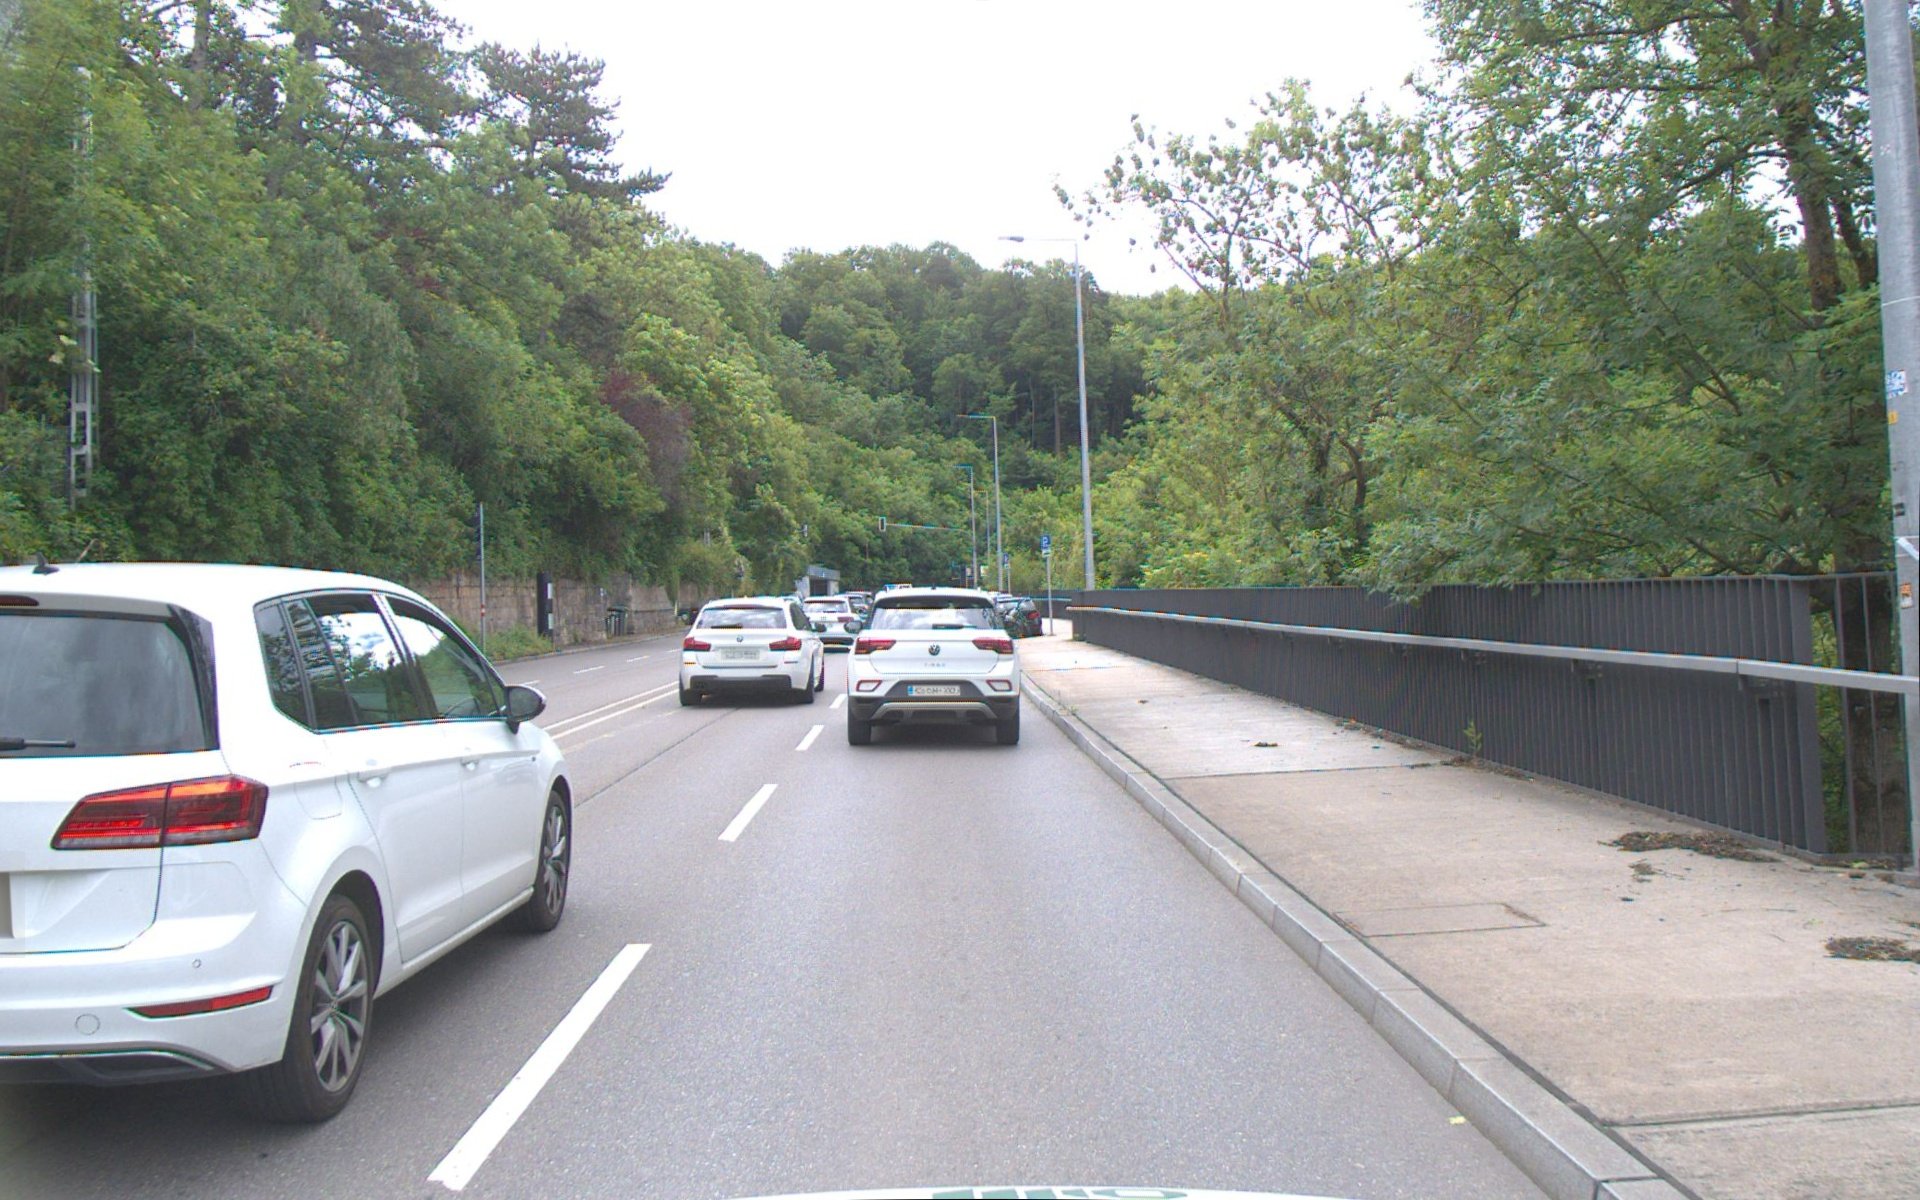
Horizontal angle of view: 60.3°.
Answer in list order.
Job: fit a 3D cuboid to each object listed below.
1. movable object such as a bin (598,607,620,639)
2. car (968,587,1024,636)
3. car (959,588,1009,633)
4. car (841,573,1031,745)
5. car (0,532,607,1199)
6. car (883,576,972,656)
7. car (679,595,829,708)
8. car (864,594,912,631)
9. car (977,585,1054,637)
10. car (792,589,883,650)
[{"bbox_3d":[-13.233,0.869,62.325,0.702,1.195,0.675,0,0,-1],"label":"movable object such as a bin"},{"bbox_3d":[1.346,0.398,63.258,1.953,1.748,4.113,0,1,-1],"label":"car"},{"bbox_3d":[0.964,0.416,68.681,1.953,1.748,4.113,0,1,-1],"label":"car"},{"bbox_3d":[-0.146,0.592,17.869,1.790,1.634,4.001,-1,-1,3],"label":"car"},{"bbox_3d":[-2.606,0.659,6.012,1.784,1.608,4.355,0,0,-1],"label":"car"},{"bbox_3d":[-0.718,0.349,39.748,1.953,1.748,4.114,-2,0,0],"label":"car"},{"bbox_3d":[-2.904,0.687,24.132,1.791,1.485,4.483,0,0,-2],"label":"car"},{"bbox_3d":[-3.243,0.559,75.563,1.953,1.529,4.668,-1,1,0],"label":"car"},{"bbox_3d":[1.689,0.330,51.458,1.780,1.534,3.993,0,0,-8],"label":"car"},{"bbox_3d":[-3.286,0.518,45.241,1.952,1.529,4.668,-1,0,2],"label":"car"}]
